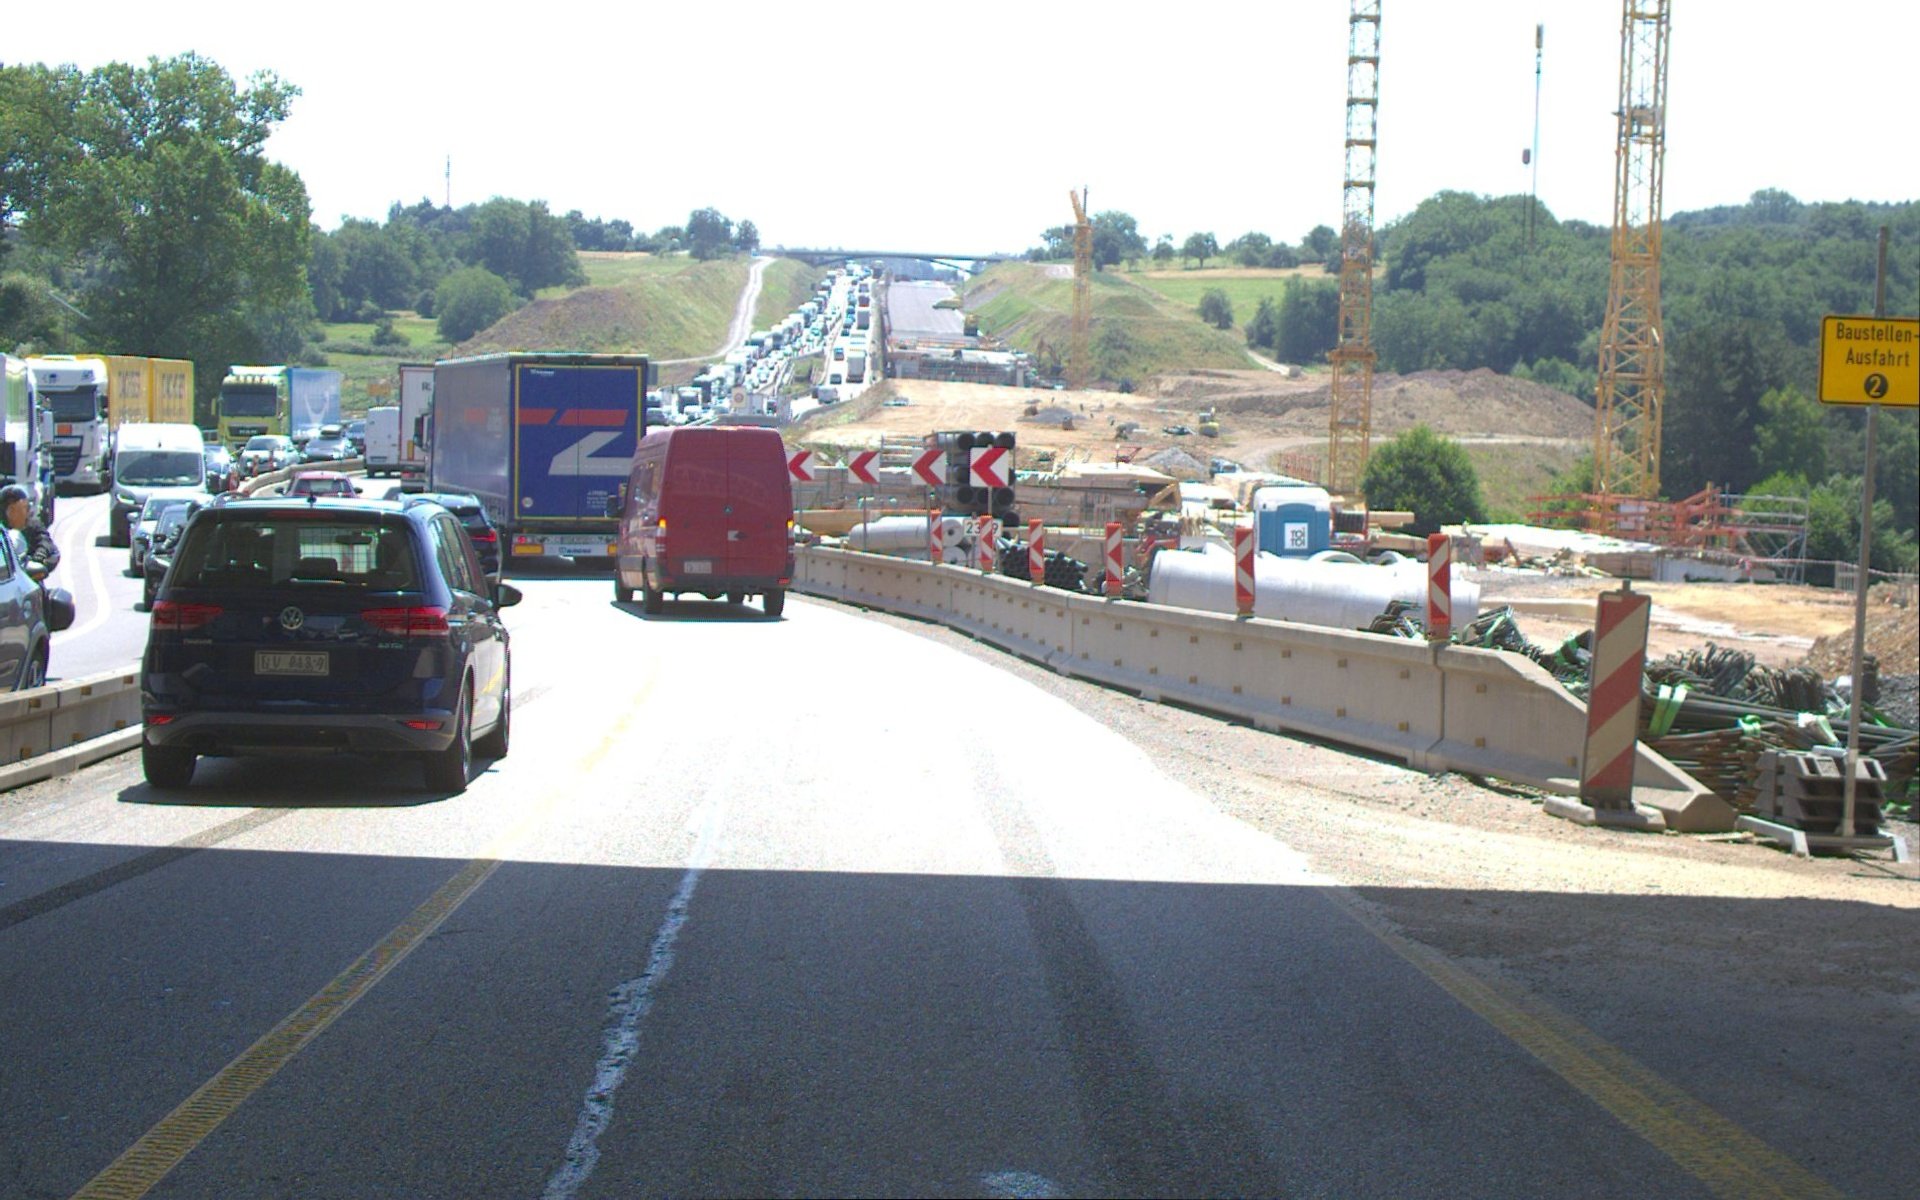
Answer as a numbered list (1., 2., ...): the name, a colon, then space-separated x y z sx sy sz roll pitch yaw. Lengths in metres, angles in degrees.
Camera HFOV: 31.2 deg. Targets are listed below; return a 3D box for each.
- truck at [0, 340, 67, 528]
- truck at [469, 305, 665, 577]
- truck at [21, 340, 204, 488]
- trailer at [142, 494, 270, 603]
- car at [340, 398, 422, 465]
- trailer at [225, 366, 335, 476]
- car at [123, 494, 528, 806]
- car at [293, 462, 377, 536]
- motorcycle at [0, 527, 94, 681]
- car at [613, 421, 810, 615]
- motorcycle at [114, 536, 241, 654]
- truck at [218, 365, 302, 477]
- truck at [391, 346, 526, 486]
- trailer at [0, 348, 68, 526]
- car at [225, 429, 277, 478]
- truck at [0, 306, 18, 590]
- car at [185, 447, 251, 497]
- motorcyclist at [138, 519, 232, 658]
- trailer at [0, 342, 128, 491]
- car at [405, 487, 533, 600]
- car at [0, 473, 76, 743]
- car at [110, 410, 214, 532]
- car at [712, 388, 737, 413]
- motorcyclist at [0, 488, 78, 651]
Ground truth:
1. truck: -20.352 -3.509 72.987 2.533 3.808 4.952 2 1 -14
2. truck: -7.675 -3.098 66.327 2.944 4.928 6.744 1 3 -13
3. truck: -26.947 -5.895 110.132 2.806 4.327 15.379 2 3 -3
4. trailer: -10.538 -0.731 48.234 1.664 1.426 4.001 1 1 -11
5. car: -21.178 -6.202 125.903 2.264 2.346 5.161 1 3 -2
6. trailer: -28.319 -7.425 143.745 2.647 4.277 13.312 2 2 -4
7. car: -3.642 0.203 20.434 1.734 1.629 4.390 1 2 -2
8. car: -14.431 -2.349 79.323 1.833 1.629 4.107 1 2 -11
9. motorcycle: -8.271 0.003 30.191 0.702 1.275 2.735 1 1 -2
10. car: -3.661 -1.230 49.704 2.149 2.602 5.441 1 2 -11
11. motorcycle: -8.028 -0.067 35.386 0.832 1.146 2.791 1 1 -4
12. truck: -27.838 -7.118 136.927 2.624 4.255 4.733 2 2 -5
13. truck: -14.977 -5.530 103.061 3.181 3.975 6.743 1 3 -2
14. trailer: -21.896 -3.706 79.023 2.525 3.776 10.249 2 1 -14
15. car: -24.272 -5.030 117.654 1.636 1.480 4.002 1 4 -13
16. truck: -14.396 -2.071 47.008 2.816 3.563 8.501 1 2 -15
17. car: -22.283 -3.851 103.382 1.676 1.357 4.505 2 3 -9
18. motorcyclist: -8.062 -0.118 35.779 0.810 1.411 0.743 1 -1 -3
19. trailer: -26.429 -5.361 100.899 2.865 4.214 5.220 1 2 -2
20. car: -7.648 -0.907 53.300 1.833 1.629 4.391 1 2 -10
21. car: -6.794 0.034 21.180 1.746 1.665 4.079 1 2 -2
22. car: -17.436 -2.760 74.980 2.070 2.495 6.486 1 1 -14
23. car: -17.170 -14.556 250.931 1.617 1.693 3.891 2 3 -2
24. motorcyclist: -8.259 -0.264 30.429 0.718 1.411 0.743 1 -1 -3
